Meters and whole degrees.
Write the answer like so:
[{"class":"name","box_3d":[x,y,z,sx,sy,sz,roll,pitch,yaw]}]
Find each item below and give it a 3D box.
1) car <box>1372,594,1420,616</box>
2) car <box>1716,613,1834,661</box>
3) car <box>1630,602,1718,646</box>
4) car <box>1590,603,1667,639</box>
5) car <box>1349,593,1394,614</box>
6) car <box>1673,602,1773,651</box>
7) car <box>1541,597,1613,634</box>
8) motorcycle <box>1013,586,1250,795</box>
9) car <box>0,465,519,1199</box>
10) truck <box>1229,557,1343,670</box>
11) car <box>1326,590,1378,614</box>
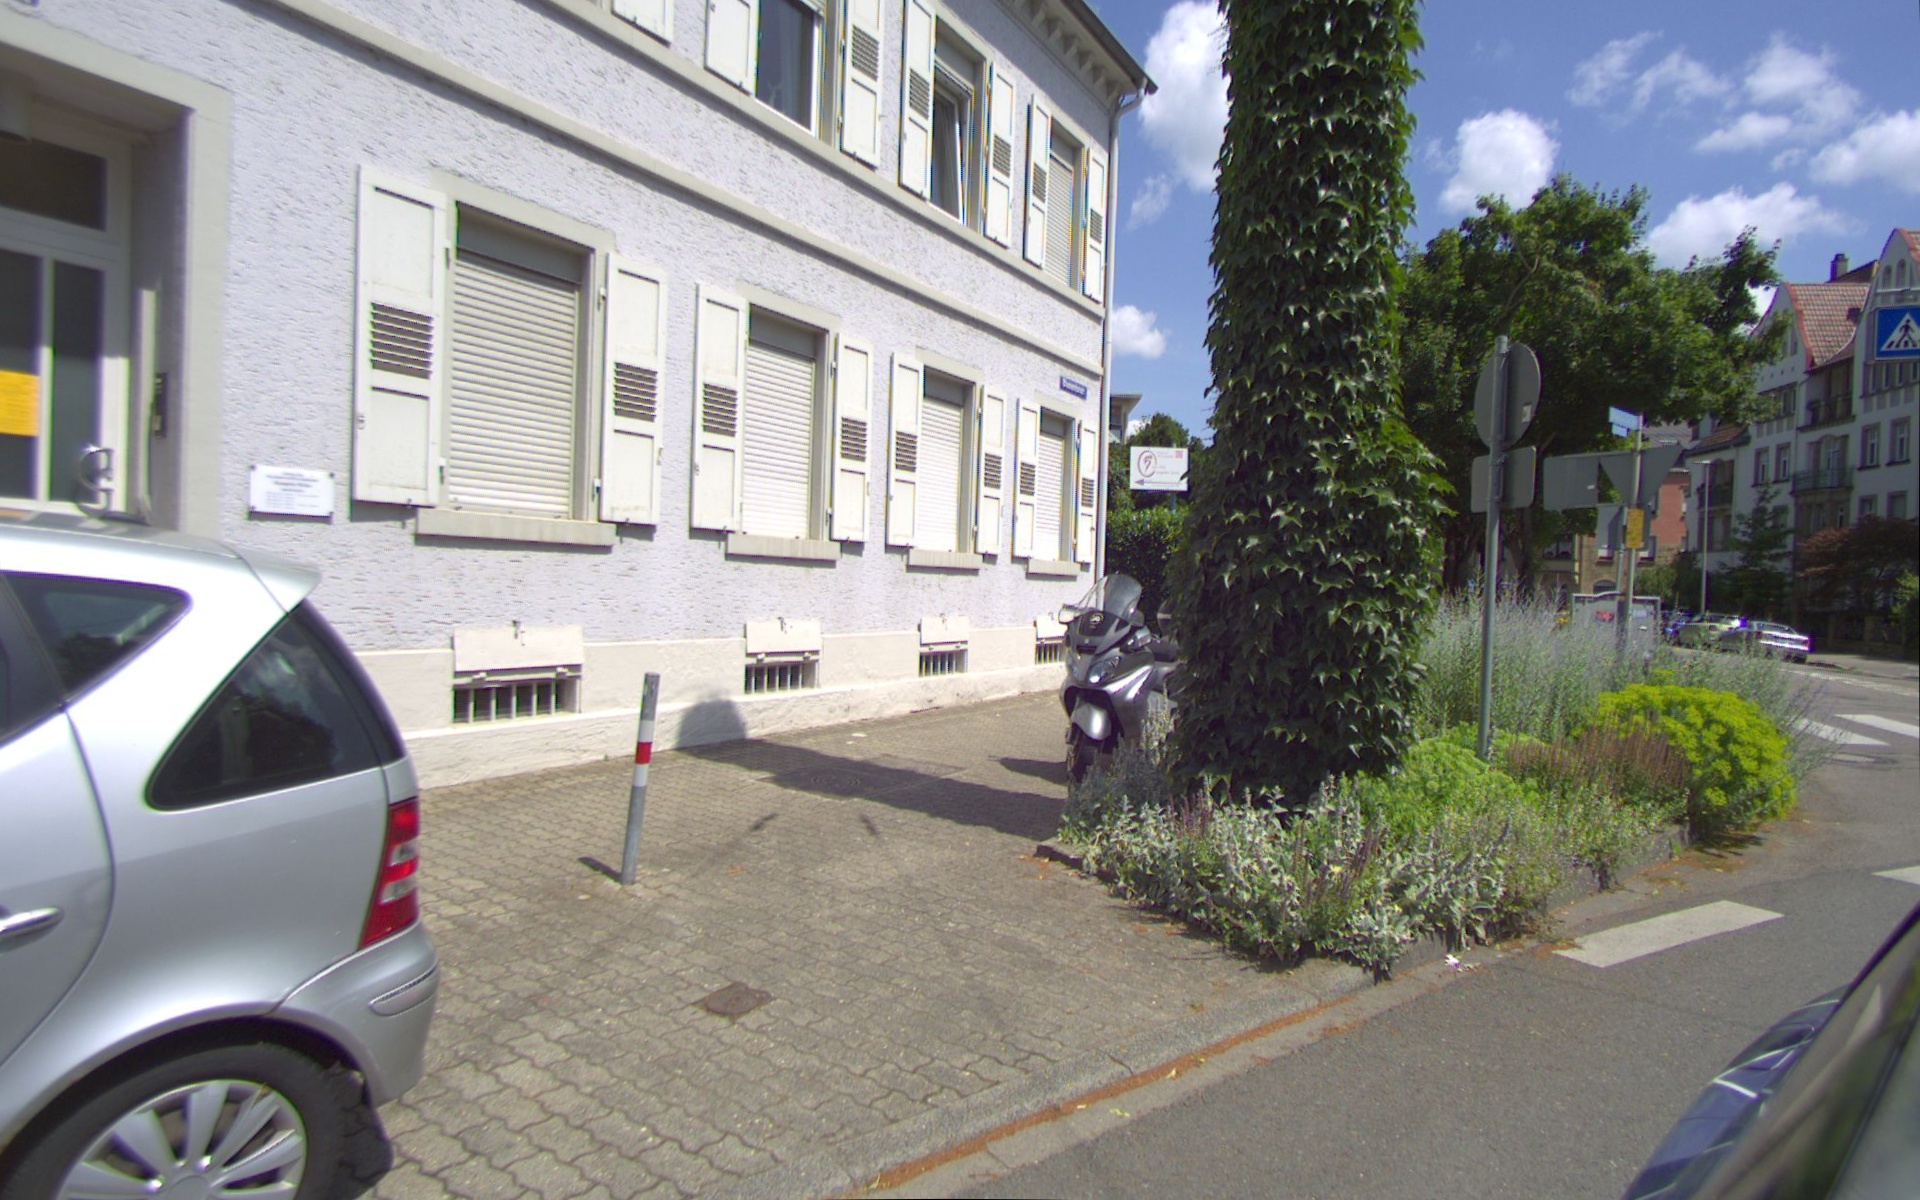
[{"class":"car","box_3d":[35.084,0.369,81.476,1.962,1.638,4.186,1,1,-1]},{"class":"car","box_3d":[27.918,1.215,34.845,1.795,1.343,3.976,4,2,18]},{"class":"car","box_3d":[31.217,1.007,44.360,1.751,1.533,3.980,8,3,16]},{"class":"car","box_3d":[32.748,0.998,49.690,1.750,1.404,3.983,7,3,14]},{"class":"car","box_3d":[34.974,0.303,86.143,1.962,1.638,4.186,1,1,-1]},{"class":"car","box_3d":[29.688,0.989,39.540,1.753,1.533,3.976,8,3,18]},{"class":"car","box_3d":[33.656,0.822,55.335,1.745,1.633,3.869,7,3,6]},{"class":"motorcycle","box_3d":[1.413,0.597,7.888,0.798,1.369,2.306,2,1,38]},{"class":"car","box_3d":[-2.897,0.543,1.483,1.726,1.630,3.744,5,4,41]},{"class":"truck","box_3d":[6.751,0.221,21.000,1.891,1.950,5.250,3,1,18]},{"class":"car","box_3d":[29.632,0.135,76.610,1.960,1.638,4.190,1,1,-4]}]
